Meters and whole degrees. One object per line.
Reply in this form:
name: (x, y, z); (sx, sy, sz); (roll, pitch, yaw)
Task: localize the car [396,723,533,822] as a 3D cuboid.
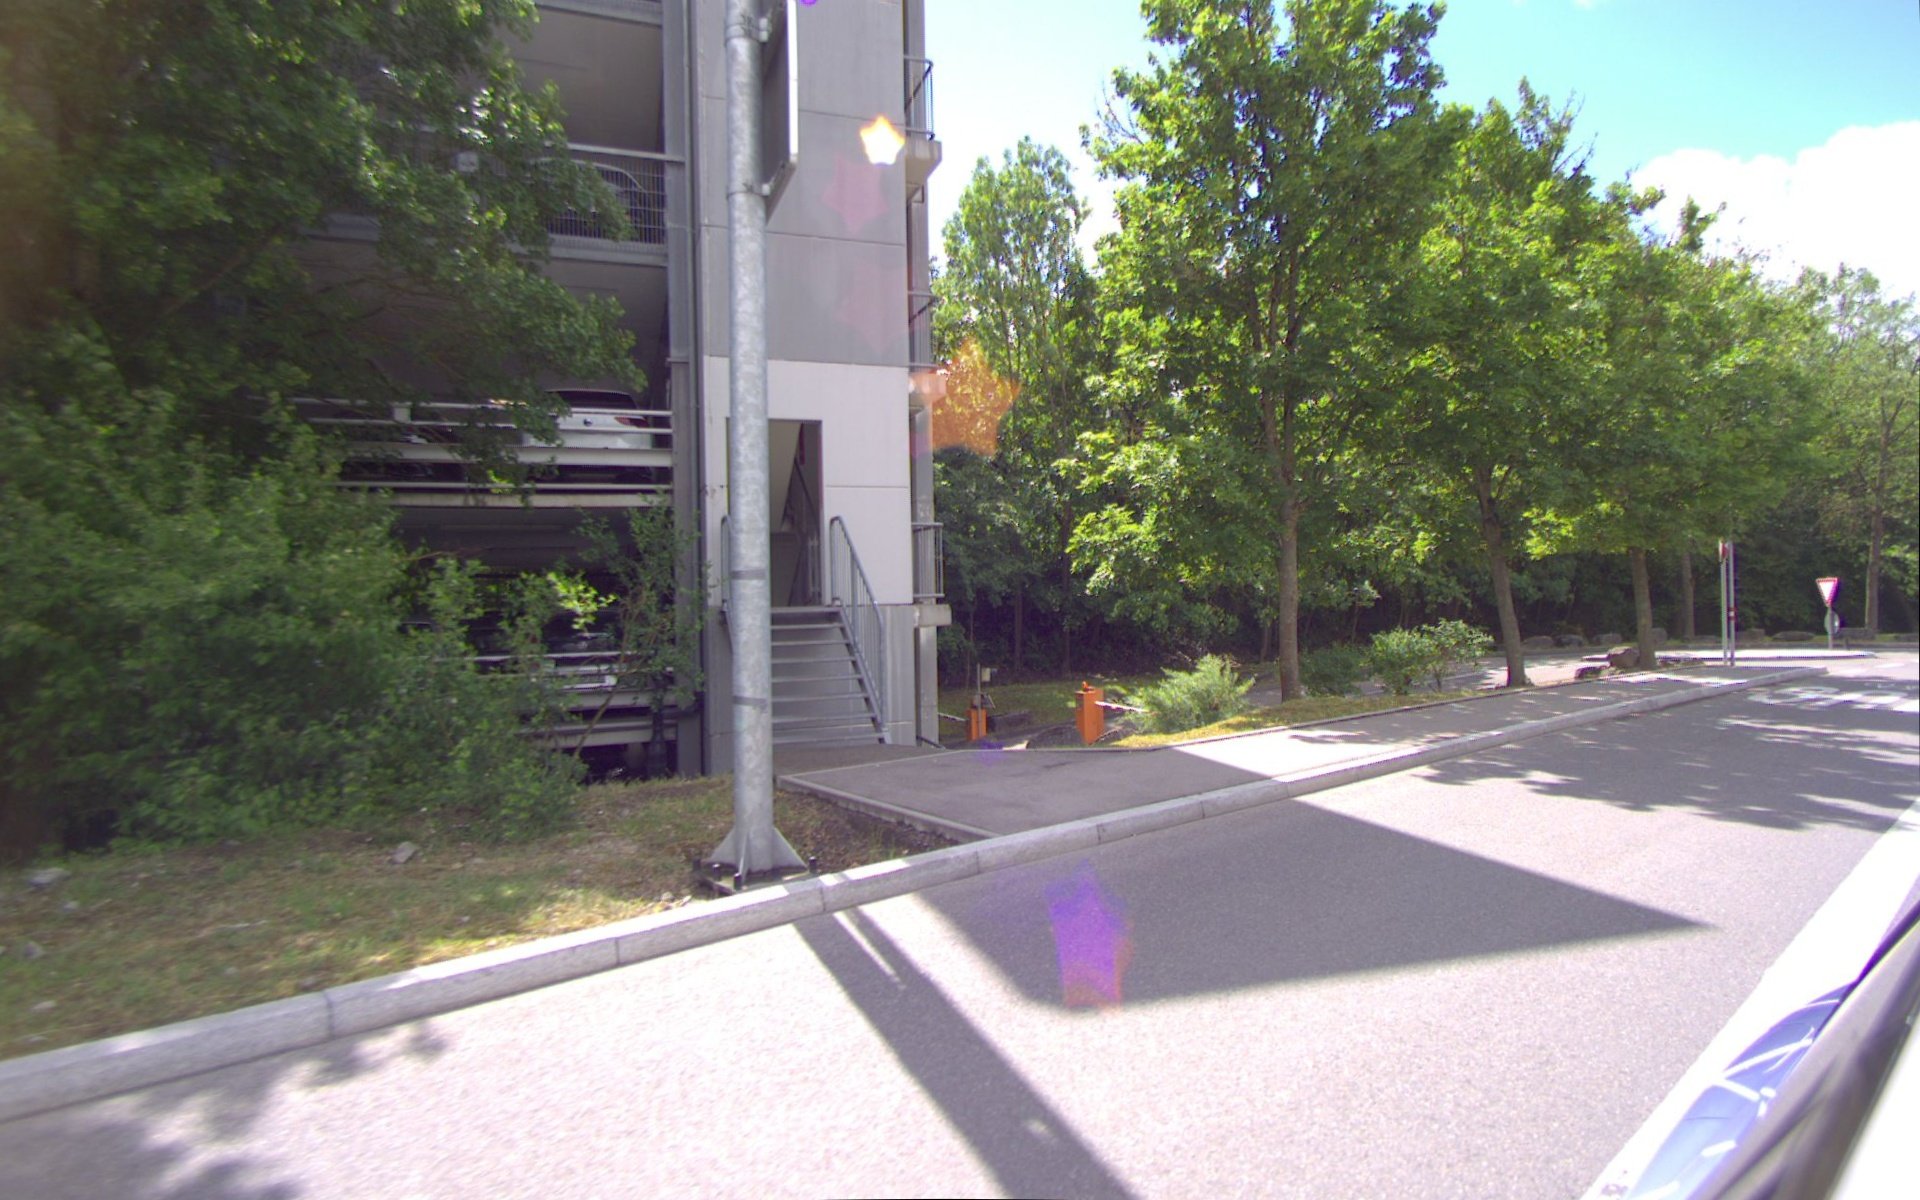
car: (-11.067, 3.793, 22.934); (1.958, 1.436, 4.336); (0, 0, -15)

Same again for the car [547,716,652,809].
car: (-8.392, 3.734, 23.877); (1.958, 1.436, 4.336); (0, 0, -15)

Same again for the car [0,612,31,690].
car: (-21.328, 1.103, 20.447); (1.958, 1.651, 4.336); (0, 0, -15)

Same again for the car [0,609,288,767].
car: (-9.336, 0.870, 11.788); (1.630, 1.488, 3.783); (0, 0, -19)

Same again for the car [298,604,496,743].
car: (-7.120, 0.811, 13.160); (1.630, 1.510, 3.783); (0, 0, -19)

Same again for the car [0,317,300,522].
car: (-9.097, -1.878, 11.662); (1.630, 1.645, 3.783); (0, 0, -19)

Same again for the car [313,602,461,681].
car: (-13.227, 0.870, 23.654); (1.958, 1.651, 4.336); (0, 0, -15)

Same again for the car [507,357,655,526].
car: (-5.064, -1.969, 13.686); (1.630, 1.645, 3.783); (0, 0, -19)

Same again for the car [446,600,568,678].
car: (-10.597, 0.840, 23.979); (1.958, 1.651, 4.336); (0, 0, -15)

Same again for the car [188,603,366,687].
car: (-15.020, 0.905, 22.552); (1.958, 1.651, 4.336); (0, 0, -15)

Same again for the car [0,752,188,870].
car: (-18.153, 4.248, 20.910); (1.958, 1.508, 4.336); (0, 0, -15)

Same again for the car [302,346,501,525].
car: (-6.976, -1.932, 13.008); (1.630, 1.645, 3.783); (0, 0, -19)

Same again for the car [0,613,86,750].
car: (-11.350, 0.910, 10.921); (1.630, 1.488, 3.783); (0, 0, -19)

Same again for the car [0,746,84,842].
car: (-20.123, 4.053, 20.440); (1.958, 1.508, 4.336); (0, 0, -15)

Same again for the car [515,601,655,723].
car: (-5.274, 0.758, 14.374); (1.630, 1.482, 3.783); (0, 0, -19)
